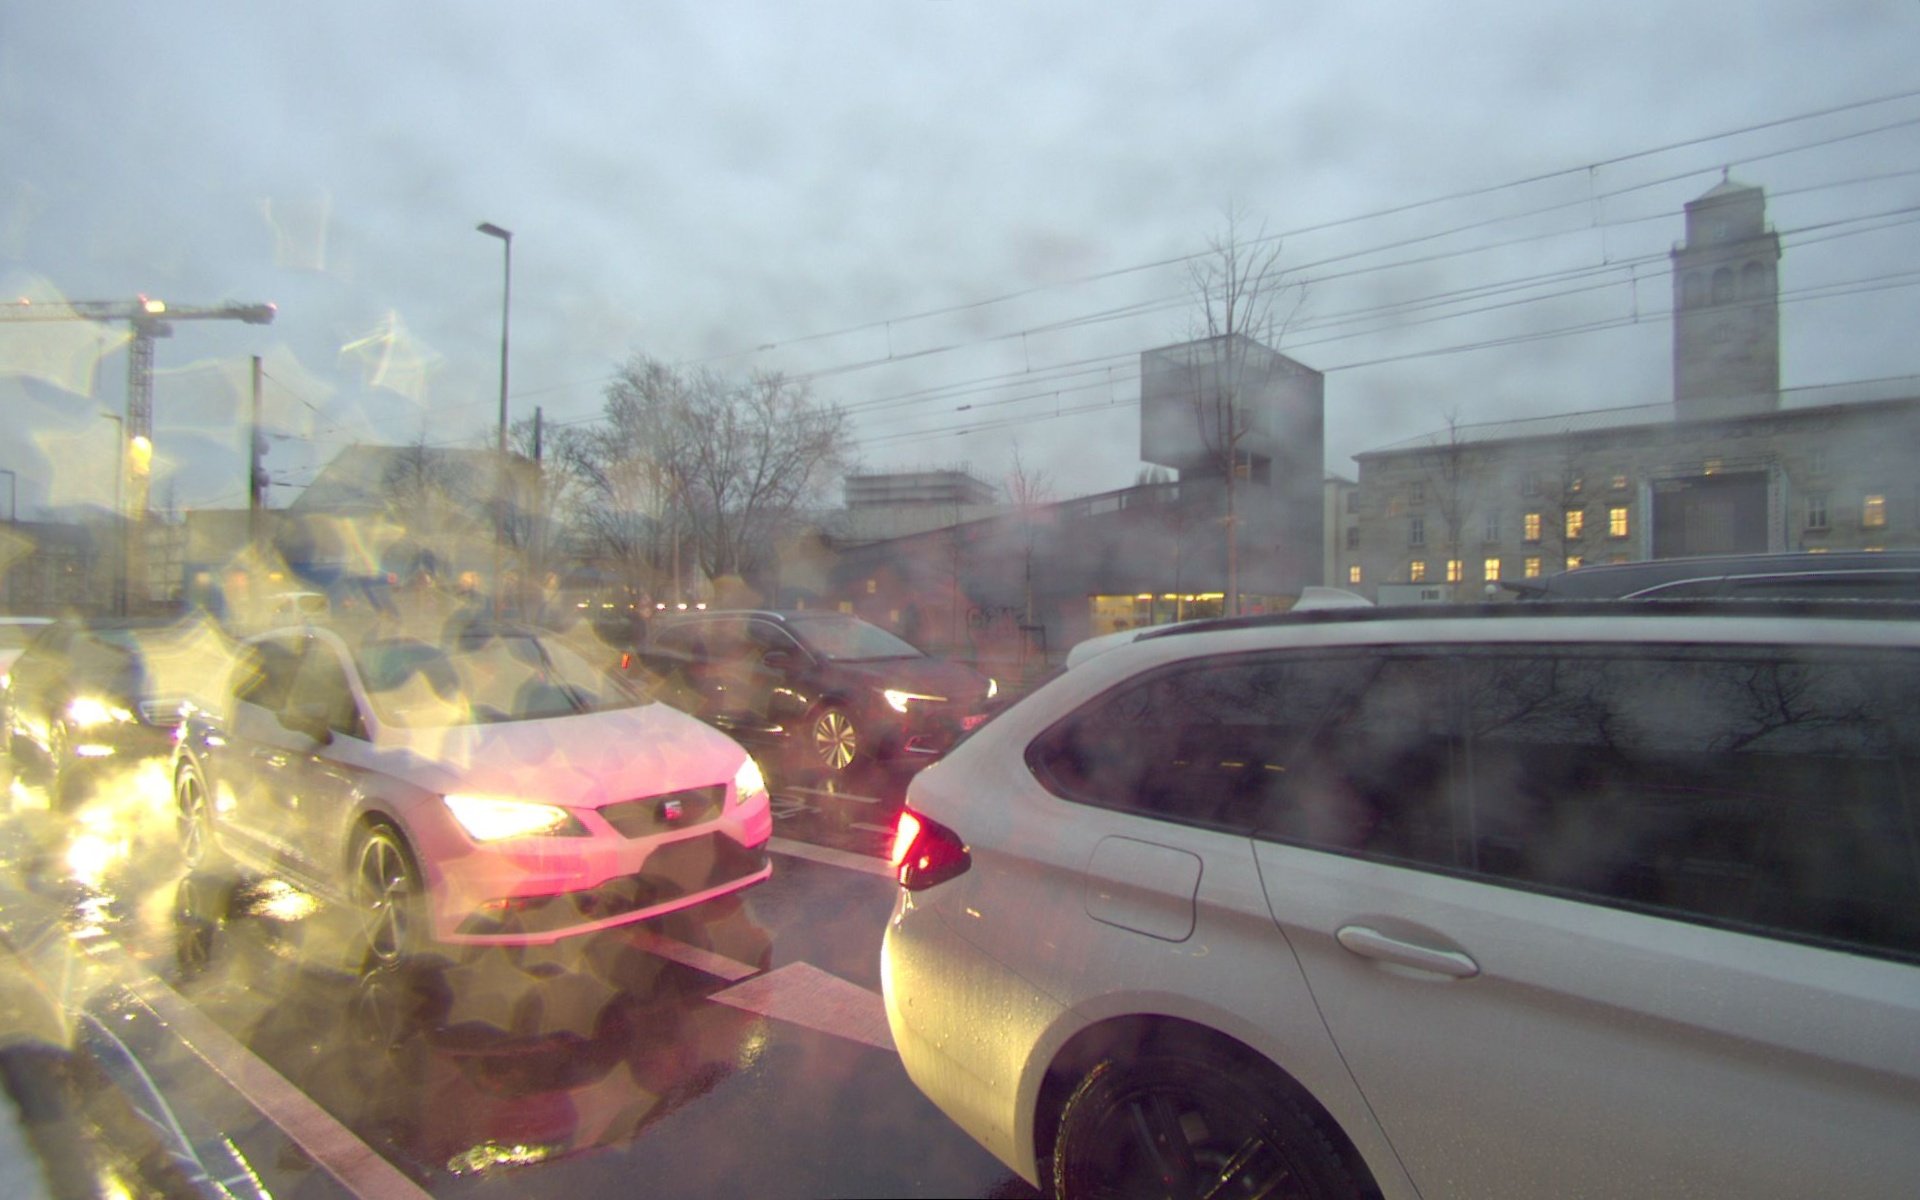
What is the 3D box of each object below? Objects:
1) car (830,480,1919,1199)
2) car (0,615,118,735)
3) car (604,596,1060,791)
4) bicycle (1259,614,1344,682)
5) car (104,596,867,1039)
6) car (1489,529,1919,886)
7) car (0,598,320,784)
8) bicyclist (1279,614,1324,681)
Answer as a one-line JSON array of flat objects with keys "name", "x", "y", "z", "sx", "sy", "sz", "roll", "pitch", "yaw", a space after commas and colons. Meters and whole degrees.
[{"name": "car", "x": 2.068, "y": 0.626, "z": 1.636, "sx": 4.557, "sy": 1.498, "sz": 1.996, "roll": -1, "pitch": -2, "yaw": 41}, {"name": "car", "x": -14.242, "y": 1.038, "z": 15.176, "sx": 3.998, "sy": 1.586, "sz": 1.882, "roll": -1, "pitch": 0, "yaw": 41}, {"name": "car", "x": -1.442, "y": 0.752, "z": 10.079, "sx": 4.659, "sy": 1.519, "sz": 1.830, "roll": 0, "pitch": -1, "yaw": 39}, {"name": "bicycle", "x": 9.240, "y": 1.267, "z": 27.425, "sx": 2.061, "sy": 1.746, "sz": 0.754, "roll": 1, "pitch": 1, "yaw": 39}, {"name": "car", "x": -2.837, "y": 0.771, "z": 5.584, "sx": 4.497, "sy": 1.498, "sz": 1.926, "roll": -1, "pitch": 0, "yaw": 37}, {"name": "car", "x": 5.223, "y": 0.487, "z": 5.003, "sx": 4.289, "sy": 1.596, "sz": 1.946, "roll": -1, "pitch": -1, "yaw": 42}, {"name": "car", "x": -8.498, "y": 0.786, "z": 10.366, "sx": 4.501, "sy": 1.498, "sz": 1.974, "roll": -1, "pitch": -2, "yaw": 39}, {"name": "bicyclist", "x": 9.242, "y": 1.261, "z": 27.412, "sx": 0.960, "sy": 1.746, "sz": 0.754, "roll": 1, "pitch": 1, "yaw": 38}]
